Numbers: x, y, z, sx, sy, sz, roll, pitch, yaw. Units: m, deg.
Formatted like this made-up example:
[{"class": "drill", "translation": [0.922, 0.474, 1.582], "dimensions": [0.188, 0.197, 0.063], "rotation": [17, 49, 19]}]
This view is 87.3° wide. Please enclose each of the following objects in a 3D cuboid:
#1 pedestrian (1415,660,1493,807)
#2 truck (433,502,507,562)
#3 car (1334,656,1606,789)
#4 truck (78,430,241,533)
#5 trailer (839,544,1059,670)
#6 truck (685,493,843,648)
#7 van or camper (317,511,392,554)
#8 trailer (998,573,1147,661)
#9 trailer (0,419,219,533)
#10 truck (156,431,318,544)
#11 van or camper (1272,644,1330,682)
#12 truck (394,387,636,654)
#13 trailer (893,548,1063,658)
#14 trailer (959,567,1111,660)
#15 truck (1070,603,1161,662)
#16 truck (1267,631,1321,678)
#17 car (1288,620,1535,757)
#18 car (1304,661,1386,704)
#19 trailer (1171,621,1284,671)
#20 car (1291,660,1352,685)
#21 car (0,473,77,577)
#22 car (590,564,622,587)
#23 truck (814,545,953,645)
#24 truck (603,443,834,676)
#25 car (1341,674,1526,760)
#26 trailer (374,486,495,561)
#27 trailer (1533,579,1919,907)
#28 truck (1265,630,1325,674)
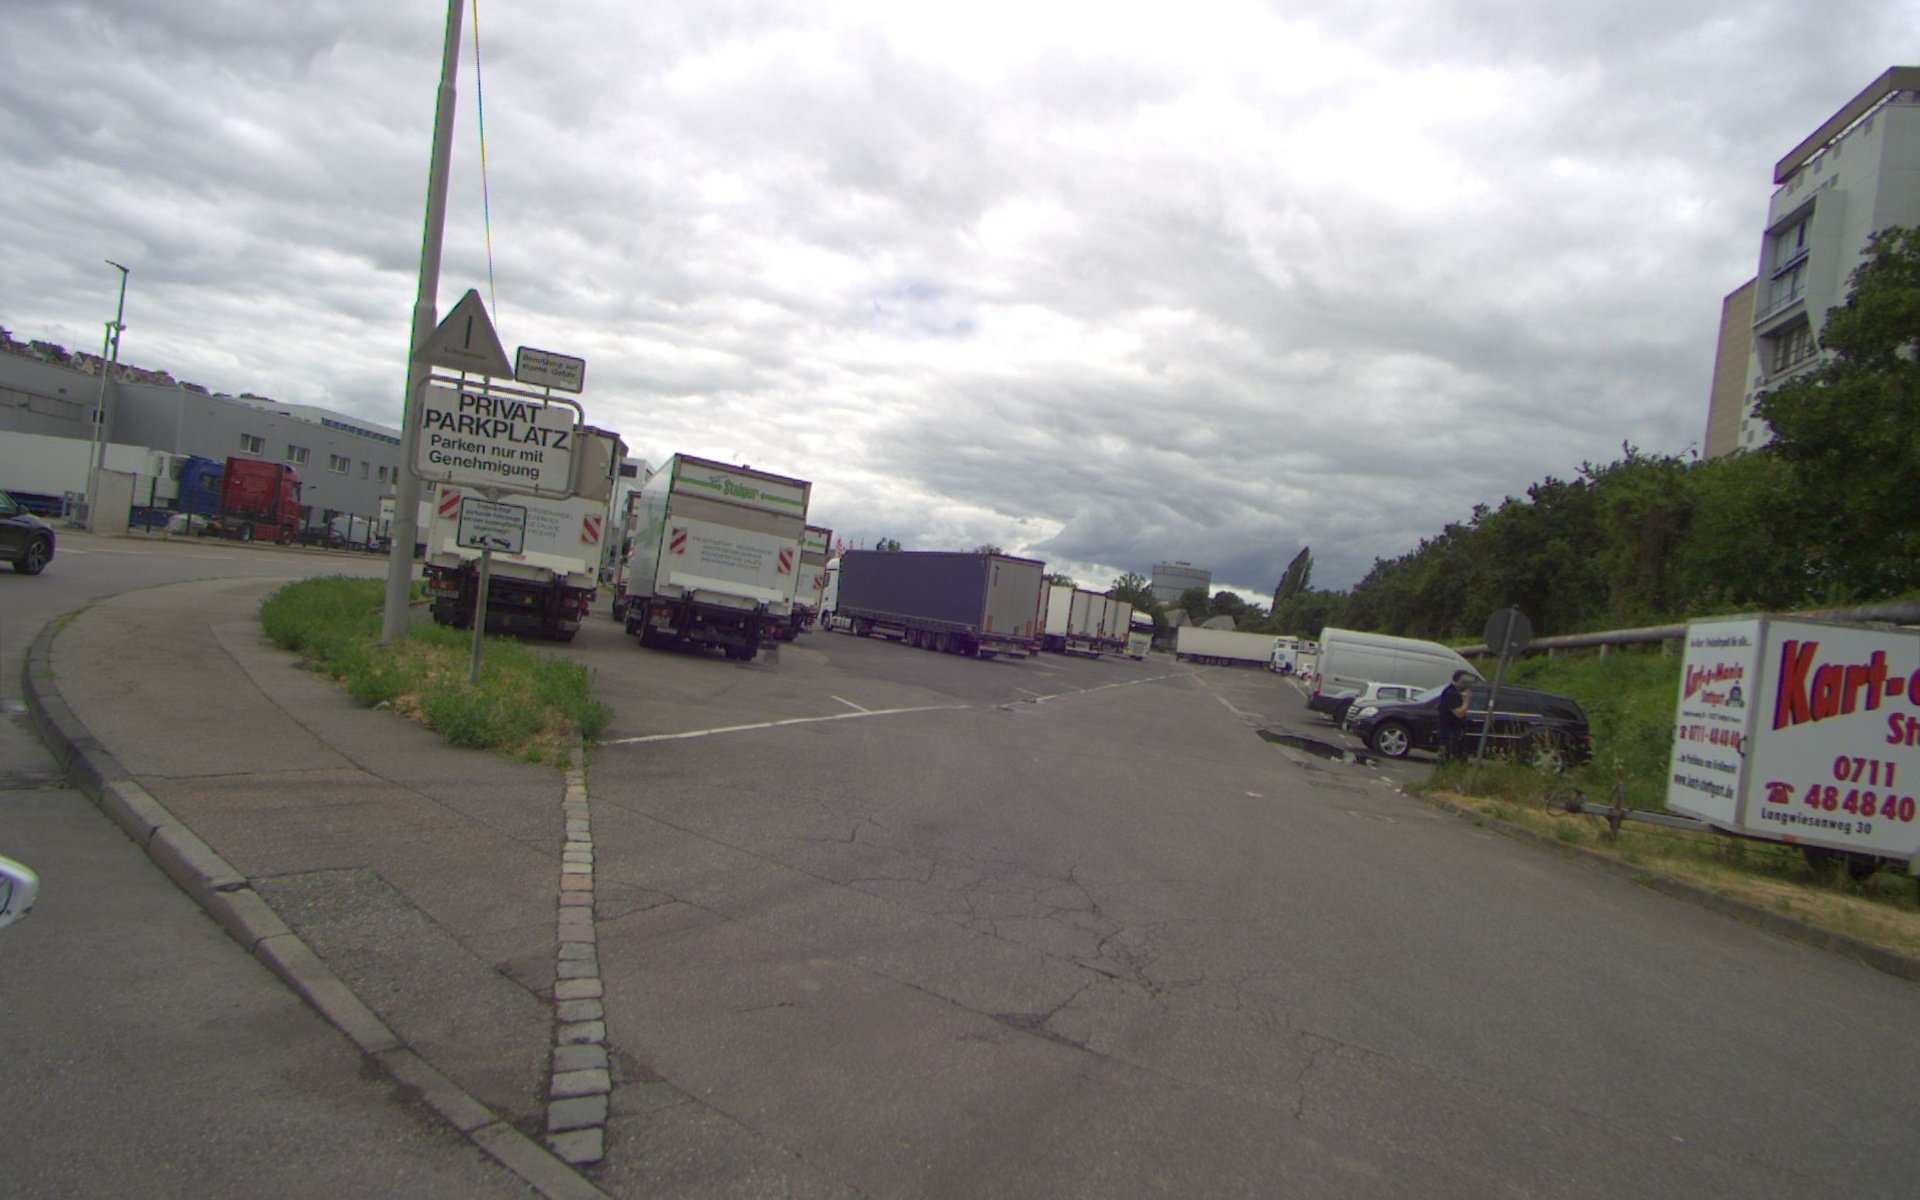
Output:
[{"class": "pedestrian", "translation": [6.696, 1.784, 13.626], "dimensions": [0.686, 1.842, 0.697], "rotation": [8, 0, 30]}, {"class": "truck", "translation": [-39.798, -5.416, 82.029], "dimensions": [3.082, 4.169, 6.934], "rotation": [4, 0, -7]}, {"class": "car", "translation": [10.472, 2.476, 21.065], "dimensions": [4.566, 1.904, 2.002], "rotation": [8, -1, 15]}, {"class": "truck", "translation": [-40.629, -5.920, 51.337], "dimensions": [5.546, 4.068, 2.914], "rotation": [9, 0, -24]}, {"class": "trailer", "translation": [-0.998, -0.010, 43.118], "dimensions": [3.031, 4.026, 12.996], "rotation": [8, 0, -30]}, {"class": "truck", "translation": [-7.515, -1.088, 37.014], "dimensions": [3.035, 4.591, 9.728], "rotation": [8, -1, -24]}, {"class": "van or camper", "translation": [-50.644, -5.625, 84.213], "dimensions": [4.893, 2.796, 2.106], "rotation": [8, 0, 9]}, {"class": "trailer", "translation": [7.382, 0.969, 69.485], "dimensions": [3.169, 4.717, 13.012], "rotation": [8, 0, -26]}, {"class": "trailer", "translation": [-46.718, -6.721, 52.131], "dimensions": [13.765, 4.233, 3.036], "rotation": [8, 0, -1]}, {"class": "truck", "translation": [-33.381, -5.038, 46.850], "dimensions": [2.882, 4.068, 6.932], "rotation": [8, -1, -9]}, {"class": "van or camper", "translation": [33.034, 6.100, 97.690], "dimensions": [4.899, 2.972, 2.001], "rotation": [8, 0, 17]}, {"class": "truck", "translation": [-8.714, -1.332, 19.577], "dimensions": [3.037, 3.674, 8.550], "rotation": [8, -1, -26]}, {"class": "trailer", "translation": [0.512, -0.130, 54.294], "dimensions": [3.028, 4.717, 13.012], "rotation": [8, 0, -26]}, {"class": "trailer", "translation": [4.497, 0.629, 65.573], "dimensions": [3.169, 4.717, 13.012], "rotation": [8, 0, -26]}, {"class": "truck", "translation": [13.086, 2.660, 85.419], "dimensions": [3.038, 4.049, 7.982], "rotation": [8, -1, -27]}, {"class": "truck", "translation": [35.493, 5.820, 107.001], "dimensions": [4.899, 4.266, 2.001], "rotation": [8, 0, 17]}, {"class": "car", "translation": [12.441, 2.406, 28.230], "dimensions": [5.788, 2.812, 2.026], "rotation": [8, 0, 17]}, {"class": "car", "translation": [20.838, 4.463, 54.636], "dimensions": [3.926, 1.659, 2.001], "rotation": [9, -1, 20]}, {"class": "trailer", "translation": [29.782, 5.078, 112.256], "dimensions": [11.733, 4.455, 1.969], "rotation": [5, -1, 16]}, {"class": "car", "translation": [31.510, 6.350, 87.852], "dimensions": [4.668, 1.392, 2.002], "rotation": [9, -1, 13]}, {"class": "car", "translation": [-16.767, -1.399, 16.226], "dimensions": [1.972, 1.703, 4.356], "rotation": [10, -2, -17]}, {"class": "car", "translation": [-32.943, -2.268, 93.683], "dimensions": [1.967, 1.771, 3.991], "rotation": [8, 0, -11]}, {"class": "truck", "translation": [-3.857, -0.368, 48.223], "dimensions": [3.041, 4.049, 7.975], "rotation": [8, -1, -30]}, {"class": "truck", "translation": [-5.699, -0.810, 22.177], "dimensions": [3.036, 3.671, 8.558], "rotation": [11, -2, -23]}, {"class": "car", "translation": [12.105, 2.961, 26.013], "dimensions": [3.925, 1.526, 1.870], "rotation": [8, -1, 17]}, {"class": "trailer", "translation": [-39.005, -5.467, 75.537], "dimensions": [3.087, 4.314, 14.004], "rotation": [4, -1, -7]}, {"class": "trailer", "translation": [8.102, 1.363, 9.279], "dimensions": [4.332, 2.426, 1.811], "rotation": [8, 0, 17]}, {"class": "truck", "translation": [36.684, 5.664, 110.227], "dimensions": [5.861, 4.307, 1.956], "rotation": [4, -1, 17]}]
